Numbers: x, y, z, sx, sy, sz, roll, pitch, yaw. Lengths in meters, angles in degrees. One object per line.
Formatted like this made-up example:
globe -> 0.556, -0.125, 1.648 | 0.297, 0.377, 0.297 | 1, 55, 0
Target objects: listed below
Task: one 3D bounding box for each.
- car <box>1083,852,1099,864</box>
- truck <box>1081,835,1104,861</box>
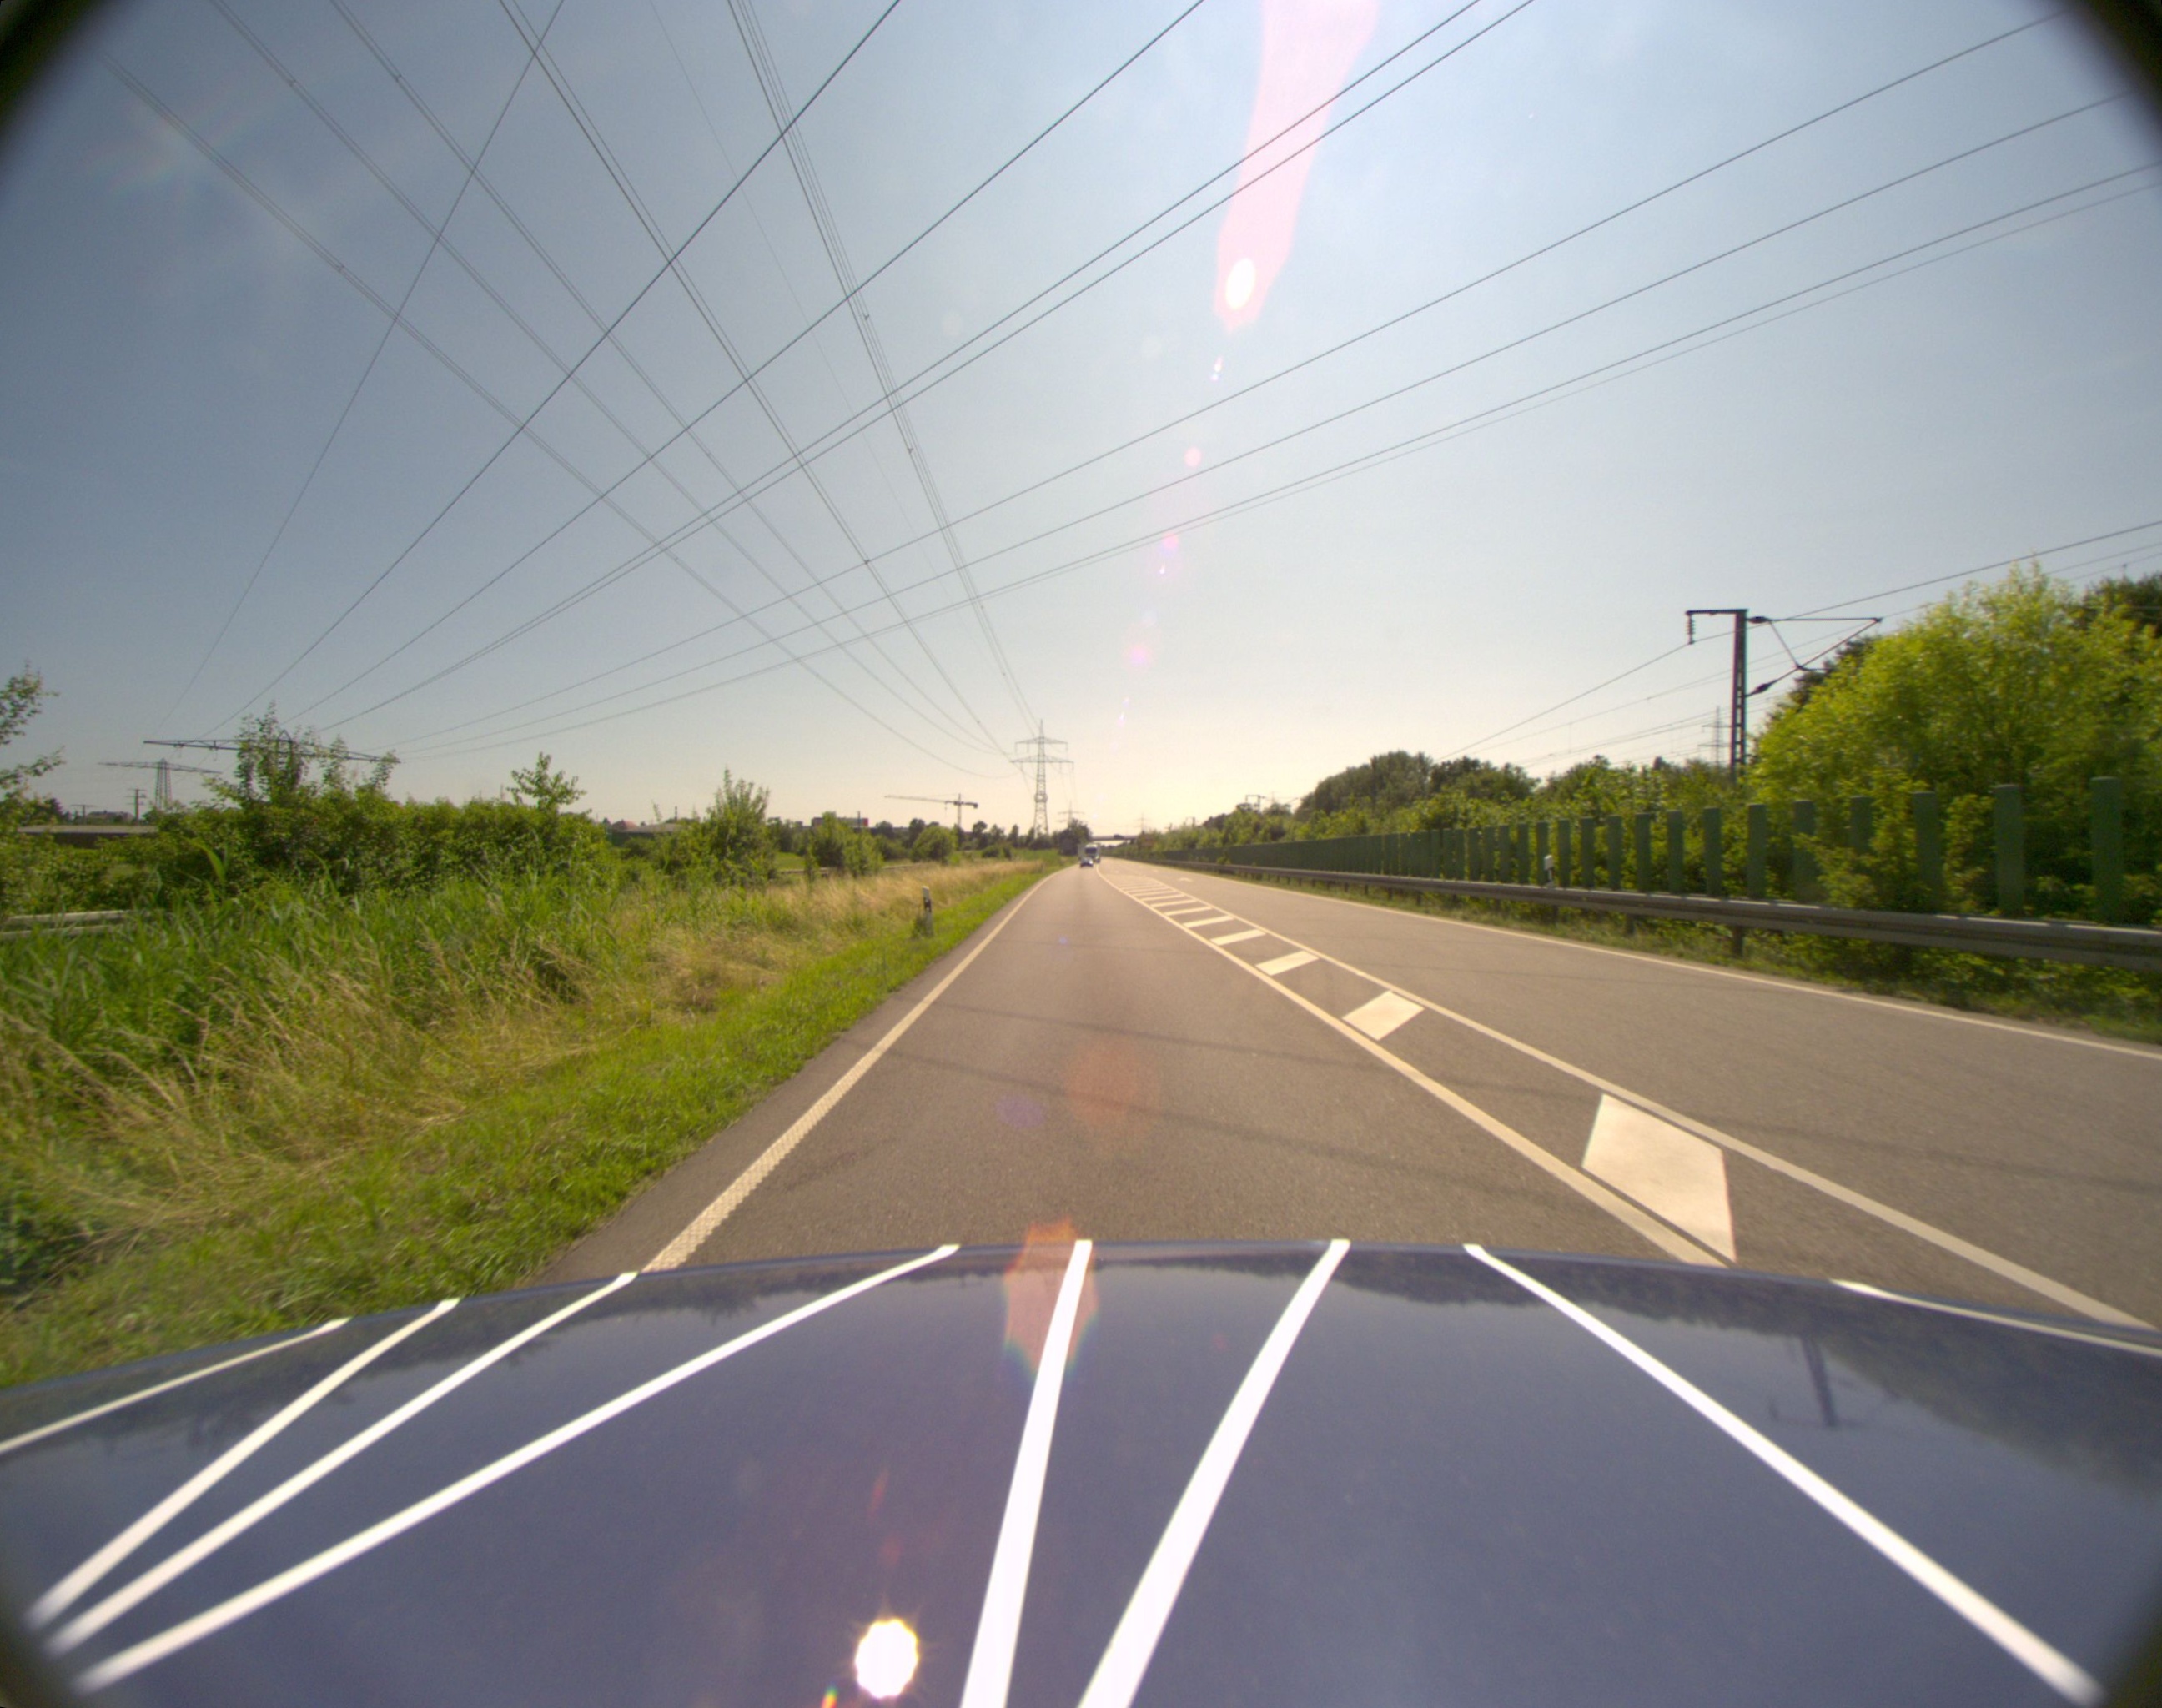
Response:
car -> 1.299, 0.487, 97.338 | 1.998, 1.346, 4.157 | -2, 1, 1
truck -> 2.326, -1.182, 153.835 | 4.219, 4.608, 21.303 | -2, 0, 1
